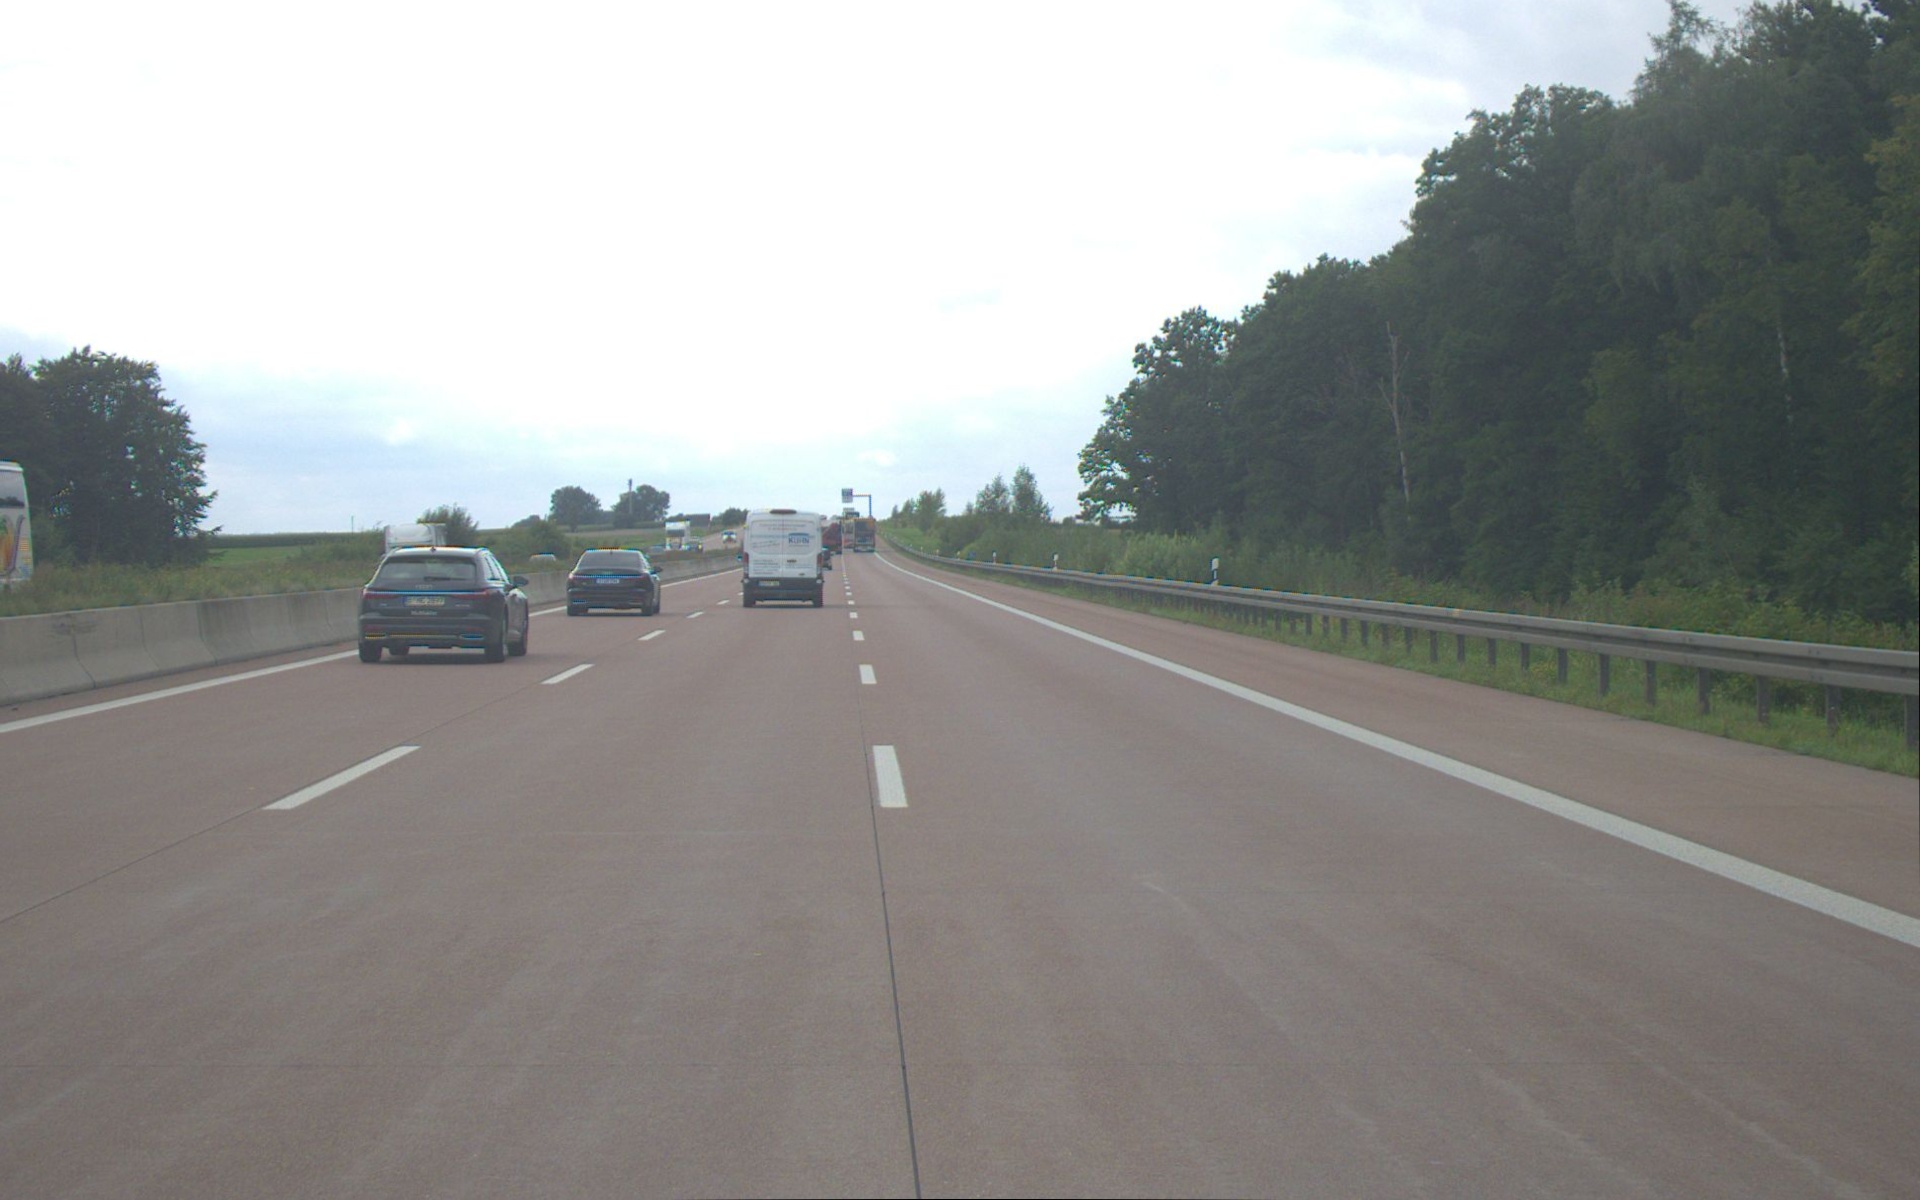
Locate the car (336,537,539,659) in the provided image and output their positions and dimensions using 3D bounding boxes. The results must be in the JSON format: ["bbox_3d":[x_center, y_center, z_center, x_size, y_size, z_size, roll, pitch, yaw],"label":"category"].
[{"bbox_3d":[-6.852,-0.070,45.623,2.059,1.486,5.454,0,1,-2],"label":"car"}]

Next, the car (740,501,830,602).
[{"bbox_3d":[-4.463,-1.304,88.564,2.137,2.498,7.132,0,2,-1],"label":"car"}]

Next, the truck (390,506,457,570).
[{"bbox_3d":[-26.928,-3.117,172.690,2.356,3.089,7.482,2,1,-2],"label":"truck"}]

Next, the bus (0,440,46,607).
[{"bbox_3d":[-23.765,-1.749,77.630,3.048,3.875,14.364,1,1,-3],"label":"bus"}]

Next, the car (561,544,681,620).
[{"bbox_3d":[-7.470,-0.435,76.301,2.085,1.545,5.674,1,1,0],"label":"car"}]
